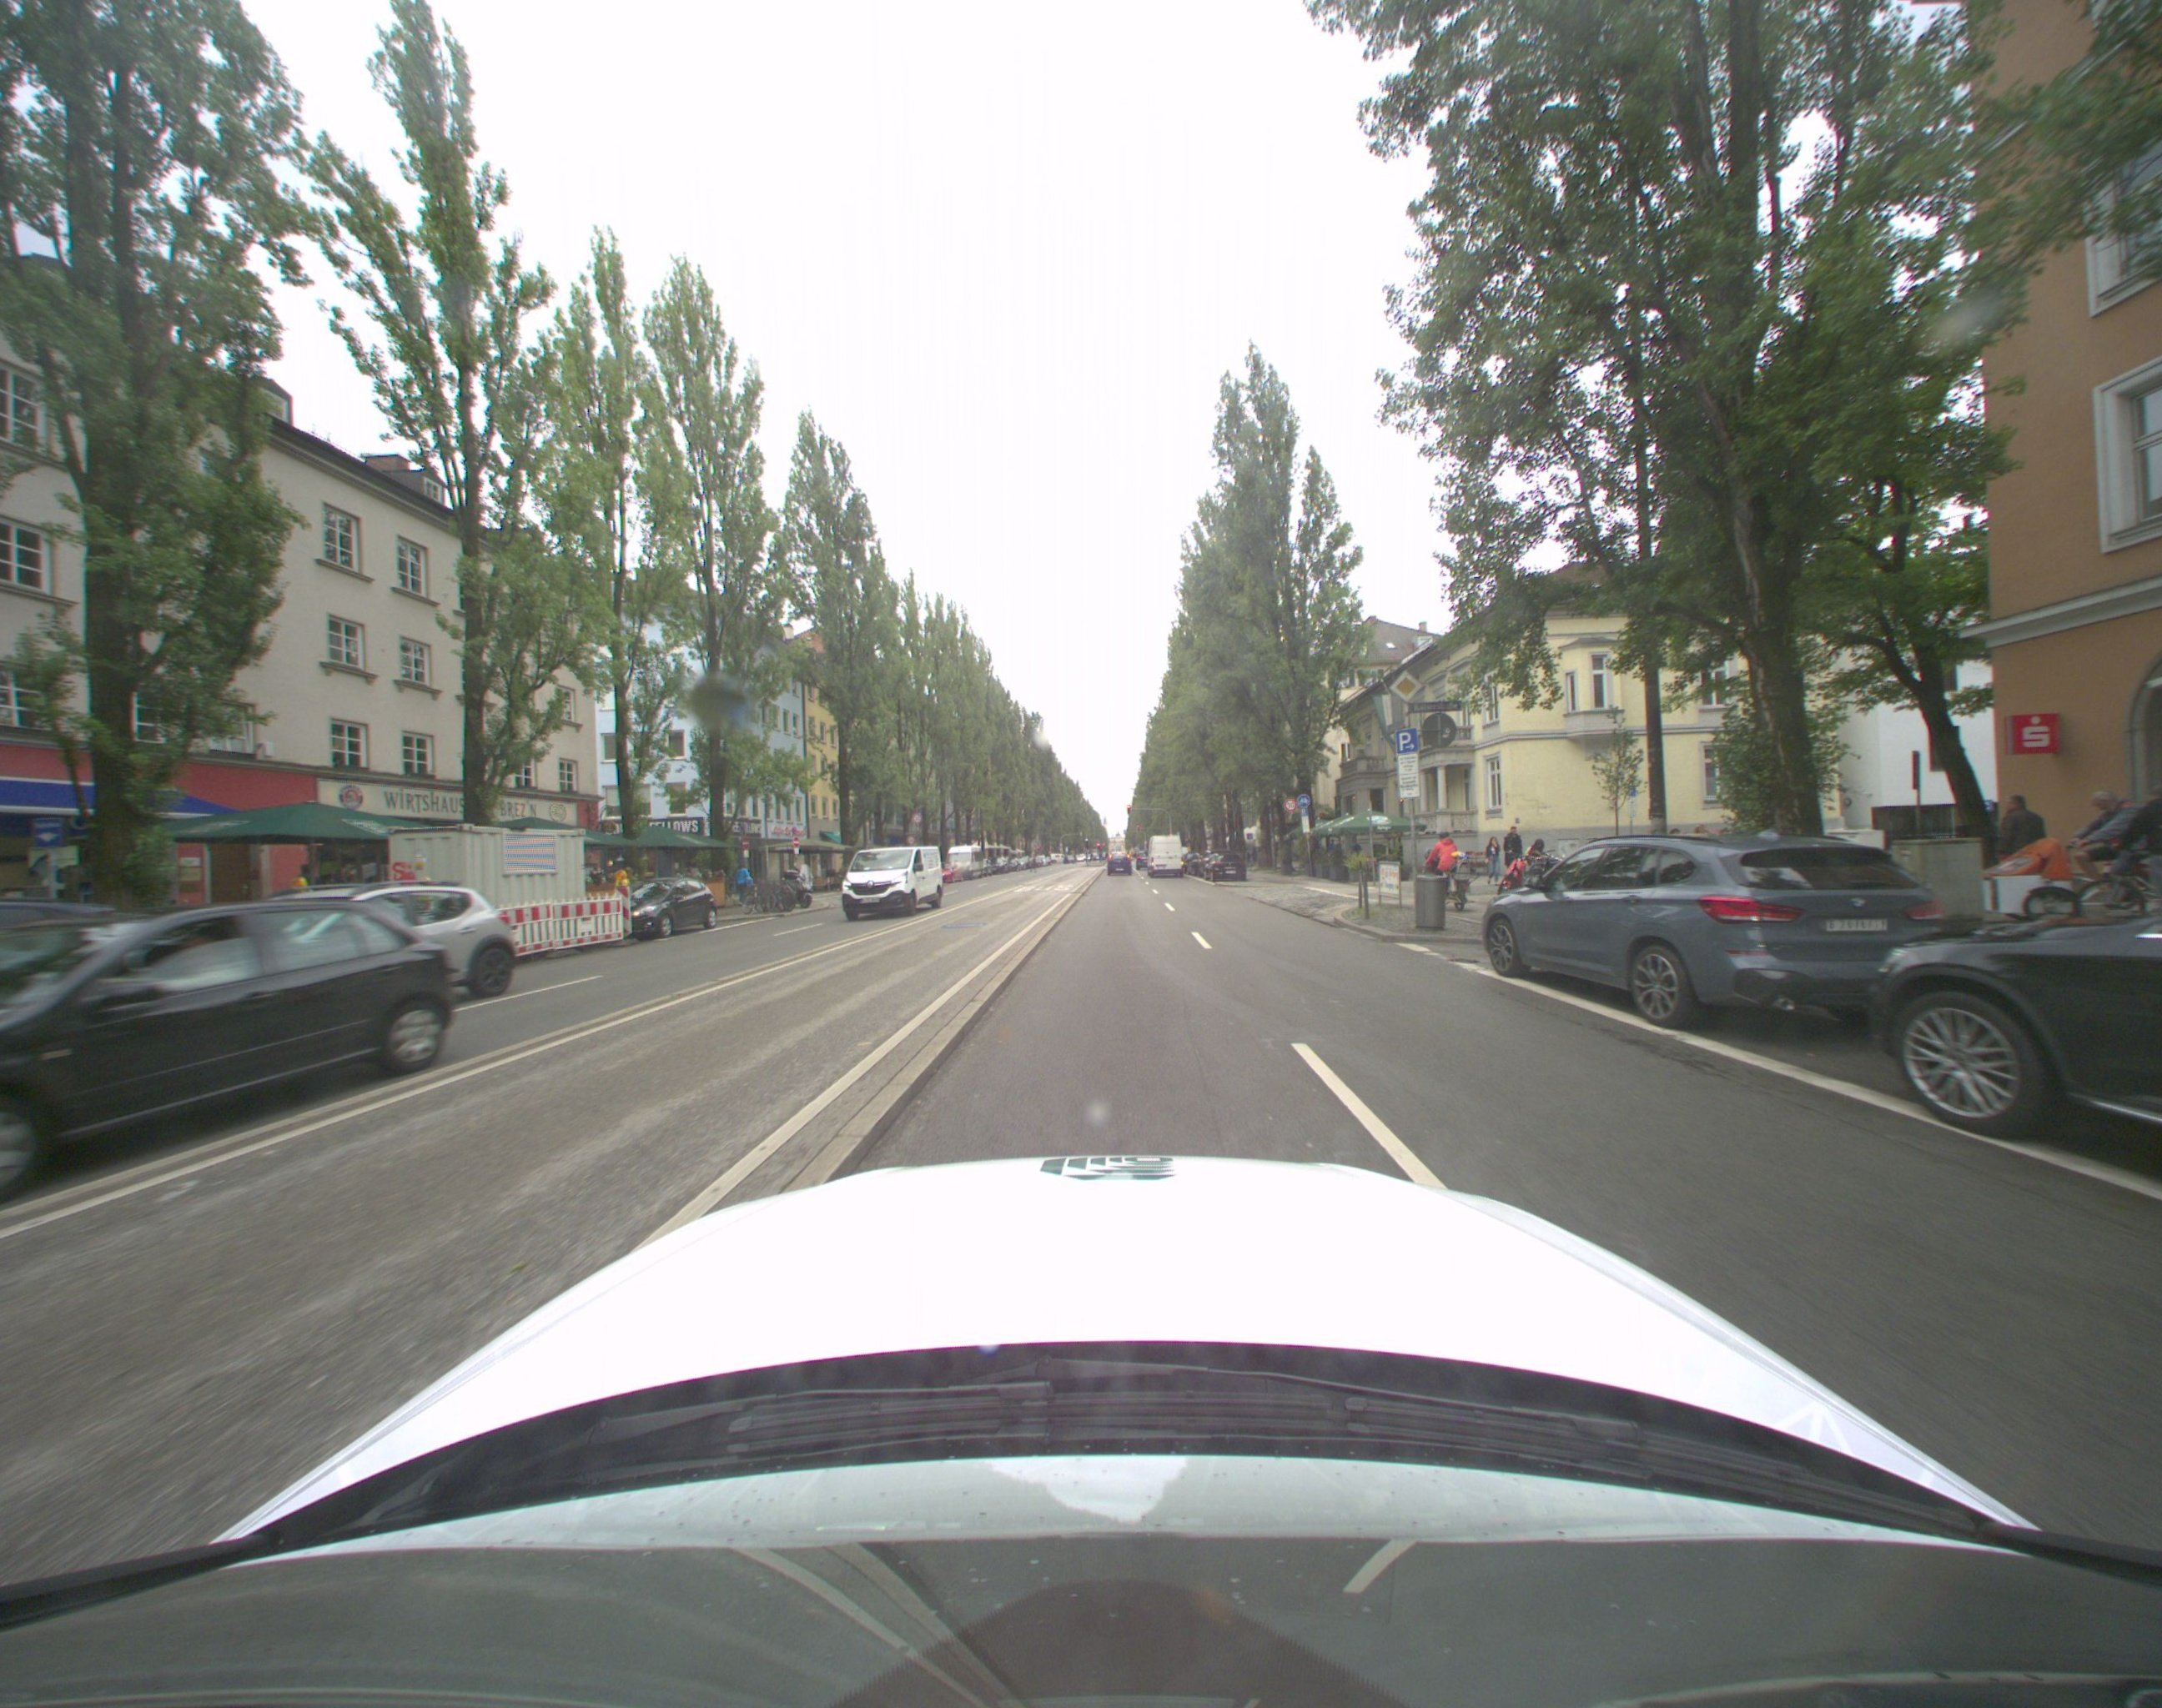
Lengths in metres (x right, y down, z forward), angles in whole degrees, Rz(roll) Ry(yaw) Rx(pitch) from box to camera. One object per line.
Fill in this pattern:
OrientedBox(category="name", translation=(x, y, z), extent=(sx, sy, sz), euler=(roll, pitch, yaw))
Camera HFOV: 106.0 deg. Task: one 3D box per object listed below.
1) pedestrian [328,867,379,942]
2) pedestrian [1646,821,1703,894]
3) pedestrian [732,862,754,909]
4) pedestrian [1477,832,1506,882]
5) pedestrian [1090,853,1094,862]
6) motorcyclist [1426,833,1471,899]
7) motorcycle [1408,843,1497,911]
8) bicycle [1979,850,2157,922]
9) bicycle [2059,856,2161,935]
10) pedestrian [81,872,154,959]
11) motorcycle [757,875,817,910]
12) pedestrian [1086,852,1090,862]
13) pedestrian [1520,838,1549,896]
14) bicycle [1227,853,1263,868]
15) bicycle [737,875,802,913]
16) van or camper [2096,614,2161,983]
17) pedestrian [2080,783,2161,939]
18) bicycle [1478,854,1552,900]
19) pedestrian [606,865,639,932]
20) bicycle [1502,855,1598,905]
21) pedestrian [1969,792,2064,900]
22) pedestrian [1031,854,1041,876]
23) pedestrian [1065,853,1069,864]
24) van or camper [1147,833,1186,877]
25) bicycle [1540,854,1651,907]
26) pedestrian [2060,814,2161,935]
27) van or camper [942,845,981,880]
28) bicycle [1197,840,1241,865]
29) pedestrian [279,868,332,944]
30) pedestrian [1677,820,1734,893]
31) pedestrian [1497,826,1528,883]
OrientedBox(category="pedestrian", translation=(-18.625, 1.279, 20.864), extent=(0.636, 1.862, 0.648), euler=(-2, 0, 2))
OrientedBox(category="pedestrian", translation=(13.688, 0.076, 18.795), extent=(0.684, 1.628, 0.776), euler=(-2, 0, 0))
OrientedBox(category="pedestrian", translation=(-13.240, 1.232, 31.911), extent=(0.666, 1.787, 0.826), euler=(-1, -1, -14))
OrientedBox(category="pedestrian", translation=(13.785, 0.096, 27.339), extent=(0.644, 1.647, 0.768), euler=(-1, -1, 11))
OrientedBox(category="pedestrian", translation=(2.412, 0.710, 173.549), extent=(0.767, 2.014, 0.898), euler=(-1, -1, 2))
OrientedBox(category="motorcyclist", translation=(8.109, 0.254, 17.989), extent=(0.562, 1.406, 0.765), euler=(-3, 0, -2))
OrientedBox(category="motorcycle", translation=(8.139, 0.477, 17.984), extent=(0.824, 1.370, 2.251), euler=(-3, 0, -1))
OrientedBox(category="bicycle", translation=(13.276, 0.438, 10.996), extent=(1.495, 0.927, 0.354), euler=(-2, 0, 25))
OrientedBox(category="bicycle", translation=(12.942, 0.492, 9.769), extent=(0.467, 0.927, 1.497), euler=(-2, 0, -35))
OrientedBox(category="pedestrian", translation=(-19.581, 1.235, 16.564), extent=(0.636, 1.700, 0.648), euler=(-2, 0, 2))
OrientedBox(category="motorcycle", translation=(-10.386, 1.357, 28.802), extent=(1.852, 1.137, 0.674), euler=(-3, 0, -2))
OrientedBox(category="pedestrian", translation=(1.175, 0.473, 136.539), extent=(0.429, 1.666, 0.387), euler=(-2, 0, -5))
OrientedBox(category="pedestrian", translation=(13.132, 0.380, 23.608), extent=(0.662, 1.650, 0.630), euler=(-2, 0, 29))
OrientedBox(category="bicycle", translation=(11.461, 0.453, 56.888), extent=(0.764, 1.023, 2.706), euler=(-2, 0, -33))
OrientedBox(category="bicycle", translation=(-10.320, 1.330, 27.016), extent=(1.852, 1.137, 0.674), euler=(-3, 0, -2))
OrientedBox(category="van or camper", translation=(10.238, -0.511, 4.860), extent=(2.450, 3.112, 4.719), euler=(-3, 0, 3))
OrientedBox(category="pedestrian", translation=(12.409, 0.076, 9.559), extent=(0.567, 1.772, 0.759), euler=(-2, 0, -45))
OrientedBox(category="bicycle", translation=(10.610, 0.541, 19.875), extent=(2.068, 1.023, 0.684), euler=(-2, 0, -34))
OrientedBox(category="pedestrian", translation=(-12.086, 1.163, 21.469), extent=(0.479, 1.701, 0.576), euler=(-2, 0, 2))
OrientedBox(category="bicycle", translation=(10.796, 0.585, 18.756), extent=(2.058, 1.023, 0.687), euler=(-2, 0, -17))
OrientedBox(category="pedestrian", translation=(14.613, -0.126, 12.740), extent=(0.669, 1.613, 0.641), euler=(-3, 0, 4))
OrientedBox(category="pedestrian", translation=(-4.267, 1.034, 77.155), extent=(0.804, 2.013, 0.722), euler=(-2, 0, 9))
OrientedBox(category="pedestrian", translation=(-2.255, 0.782, 134.665), extent=(0.551, 1.716, 0.493), euler=(-3, 0, 3))
OrientedBox(category="van or camper", translation=(5.207, 0.107, 50.156), extent=(2.027, 2.475, 4.001), euler=(-2, -2, 2))
OrientedBox(category="bicycle", translation=(11.081, 0.561, 17.548), extent=(2.052, 1.023, 0.689), euler=(-2, 0, -9))
OrientedBox(category="pedestrian", translation=(14.647, 0.268, 11.420), extent=(0.817, 1.613, 0.780), euler=(-3, 0, 4))
OrientedBox(category="van or camper", translation=(-8.820, 0.592, 60.536), extent=(1.986, 2.458, 4.253), euler=(-2, 0, 2))
OrientedBox(category="bicycle", translation=(11.545, -0.084, 68.060), extent=(3.526, 2.014, 1.301), euler=(-1, -1, 11))
OrientedBox(category="pedestrian", translation=(-19.624, 1.301, 20.621), extent=(0.636, 1.862, 0.648), euler=(-2, 0, 2))
OrientedBox(category="pedestrian", translation=(14.467, 0.063, 18.882), extent=(0.684, 1.628, 0.776), euler=(-2, 0, 0))
OrientedBox(category="pedestrian", translation=(14.519, 0.026, 27.401), extent=(0.696, 1.873, 0.768), euler=(-1, -1, 11))
